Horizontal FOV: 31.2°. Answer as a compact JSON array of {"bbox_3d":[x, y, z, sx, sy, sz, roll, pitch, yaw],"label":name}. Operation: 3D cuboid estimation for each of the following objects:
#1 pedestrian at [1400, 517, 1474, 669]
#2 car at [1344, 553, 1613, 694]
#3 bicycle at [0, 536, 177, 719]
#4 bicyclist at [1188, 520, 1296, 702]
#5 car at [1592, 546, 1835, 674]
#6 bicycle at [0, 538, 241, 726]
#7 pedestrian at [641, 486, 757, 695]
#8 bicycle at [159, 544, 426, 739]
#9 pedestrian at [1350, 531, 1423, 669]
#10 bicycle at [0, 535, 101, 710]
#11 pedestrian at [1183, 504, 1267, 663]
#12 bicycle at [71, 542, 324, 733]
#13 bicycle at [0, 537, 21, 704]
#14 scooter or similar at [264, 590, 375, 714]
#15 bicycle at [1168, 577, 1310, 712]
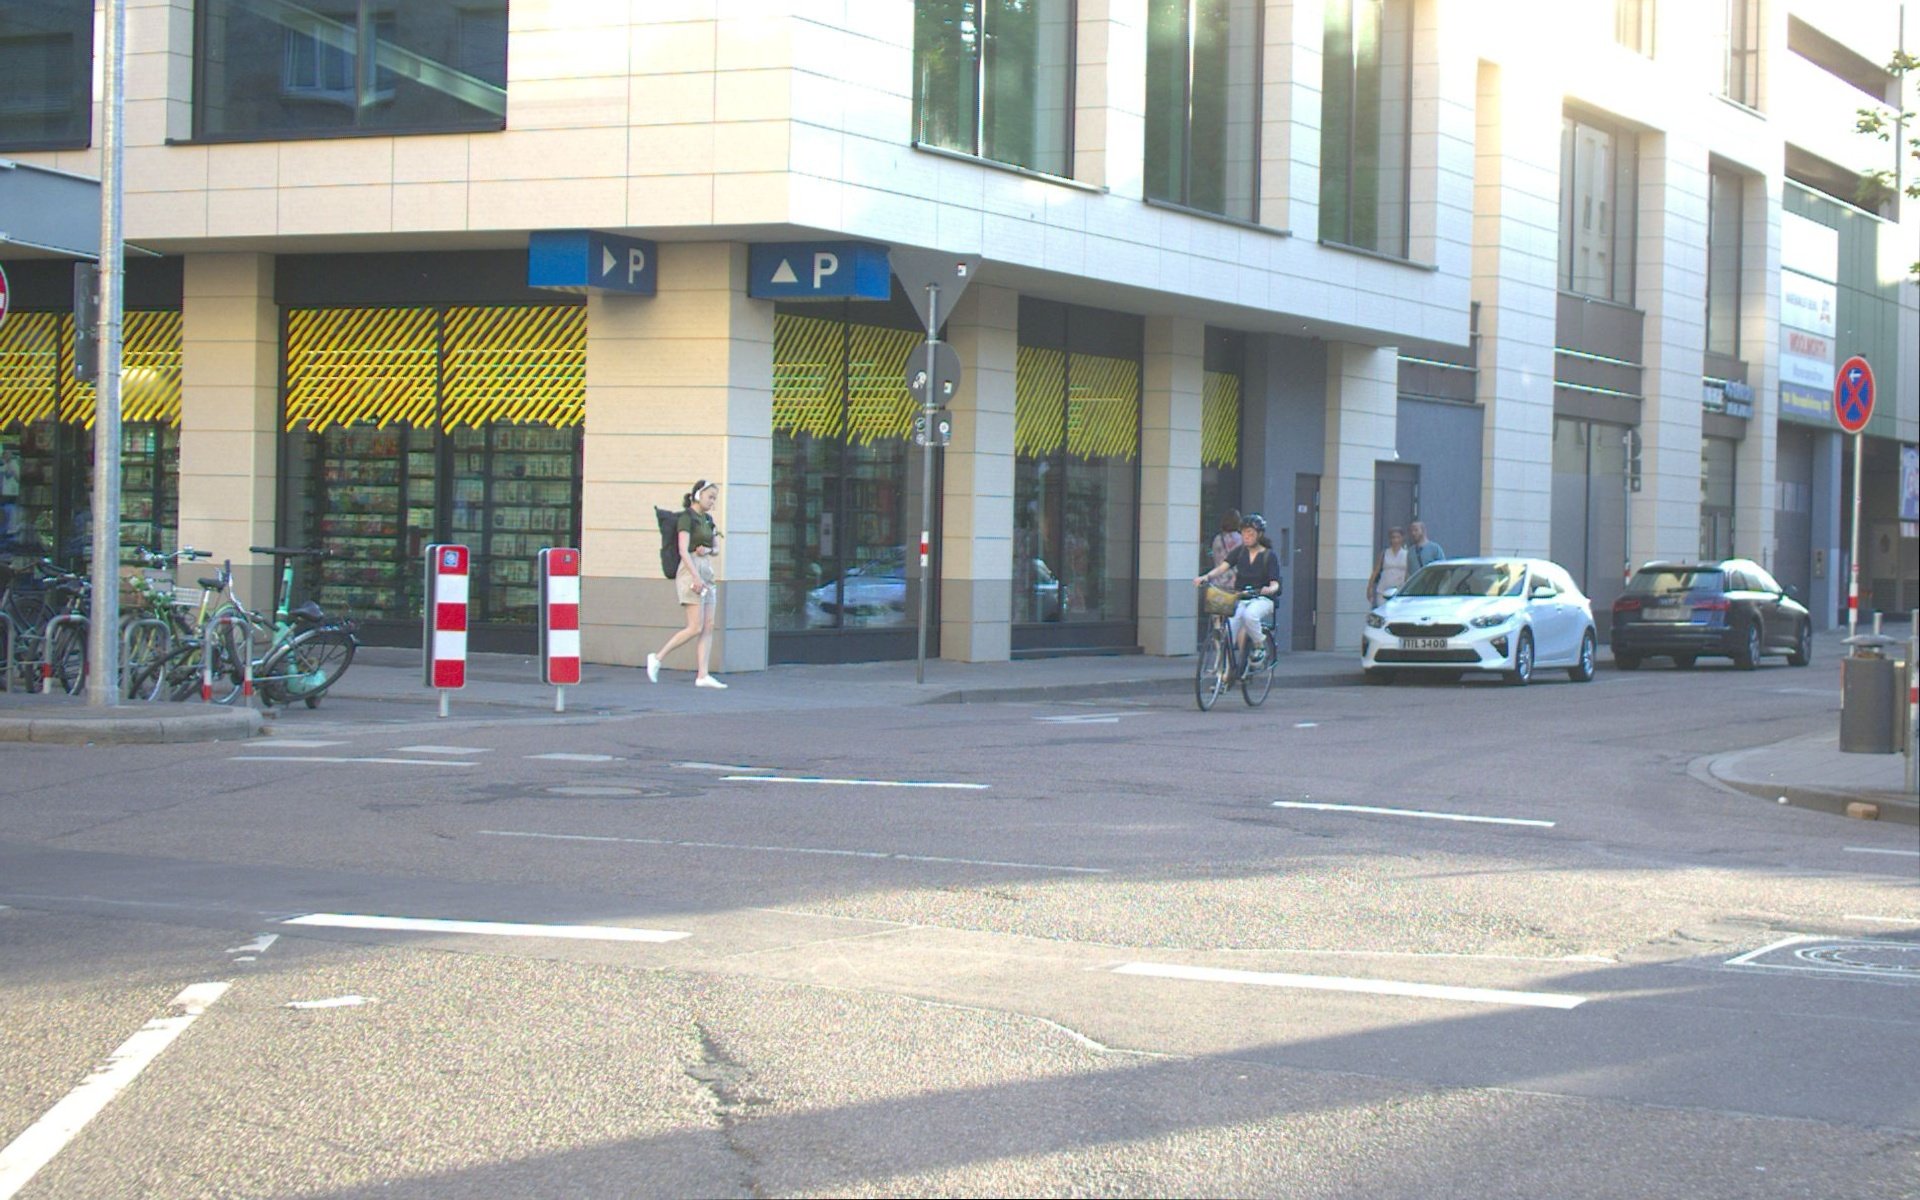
[{"bbox_3d":[5.881,-0.087,42.400,0.673,1.830,0.646,2,1,25],"label":"pedestrian"},{"bbox_3d":[5.902,0.236,38.739,1.780,1.448,4.225,2,1,26],"label":"car"},{"bbox_3d":[-6.430,0.187,24.362,0.512,1.250,1.976,3,1,28],"label":"bicycle"},{"bbox_3d":[2.508,0.096,30.519,0.659,1.565,0.862,3,0,23],"label":"bicyclist"},{"bbox_3d":[10.308,0.124,46.774,1.886,1.592,4.681,2,1,29],"label":"car"},{"bbox_3d":[-5.863,0.220,24.105,0.512,1.250,1.976,3,1,23],"label":"bicycle"},{"bbox_3d":[-2.200,-0.083,28.914,0.635,1.717,0.845,1,1,-28],"label":"pedestrian"},{"bbox_3d":[-4.550,0.276,23.598,0.664,1.250,2.138,3,1,23],"label":"bicycle"},{"bbox_3d":[5.297,-0.005,42.675,0.673,1.669,0.646,2,1,25],"label":"pedestrian"},{"bbox_3d":[-7.066,0.156,24.780,0.512,1.250,1.976,3,1,26],"label":"bicycle"},{"bbox_3d":[2.945,-0.186,38.204,0.673,1.738,0.646,2,1,27],"label":"pedestrian"},{"bbox_3d":[-5.265,0.252,23.879,0.581,1.250,2.041,3,1,23],"label":"bicycle"},{"bbox_3d":[-7.757,0.140,25.158,0.512,1.250,1.976,3,1,25],"label":"bicycle"},{"bbox_3d":[-4.694,0.380,25.202,0.387,0.881,0.769,3,1,26],"label":"scooter or similar"},{"bbox_3d":[2.488,0.386,30.480,0.664,1.134,1.819,3,1,23],"label":"bicycle"}]
